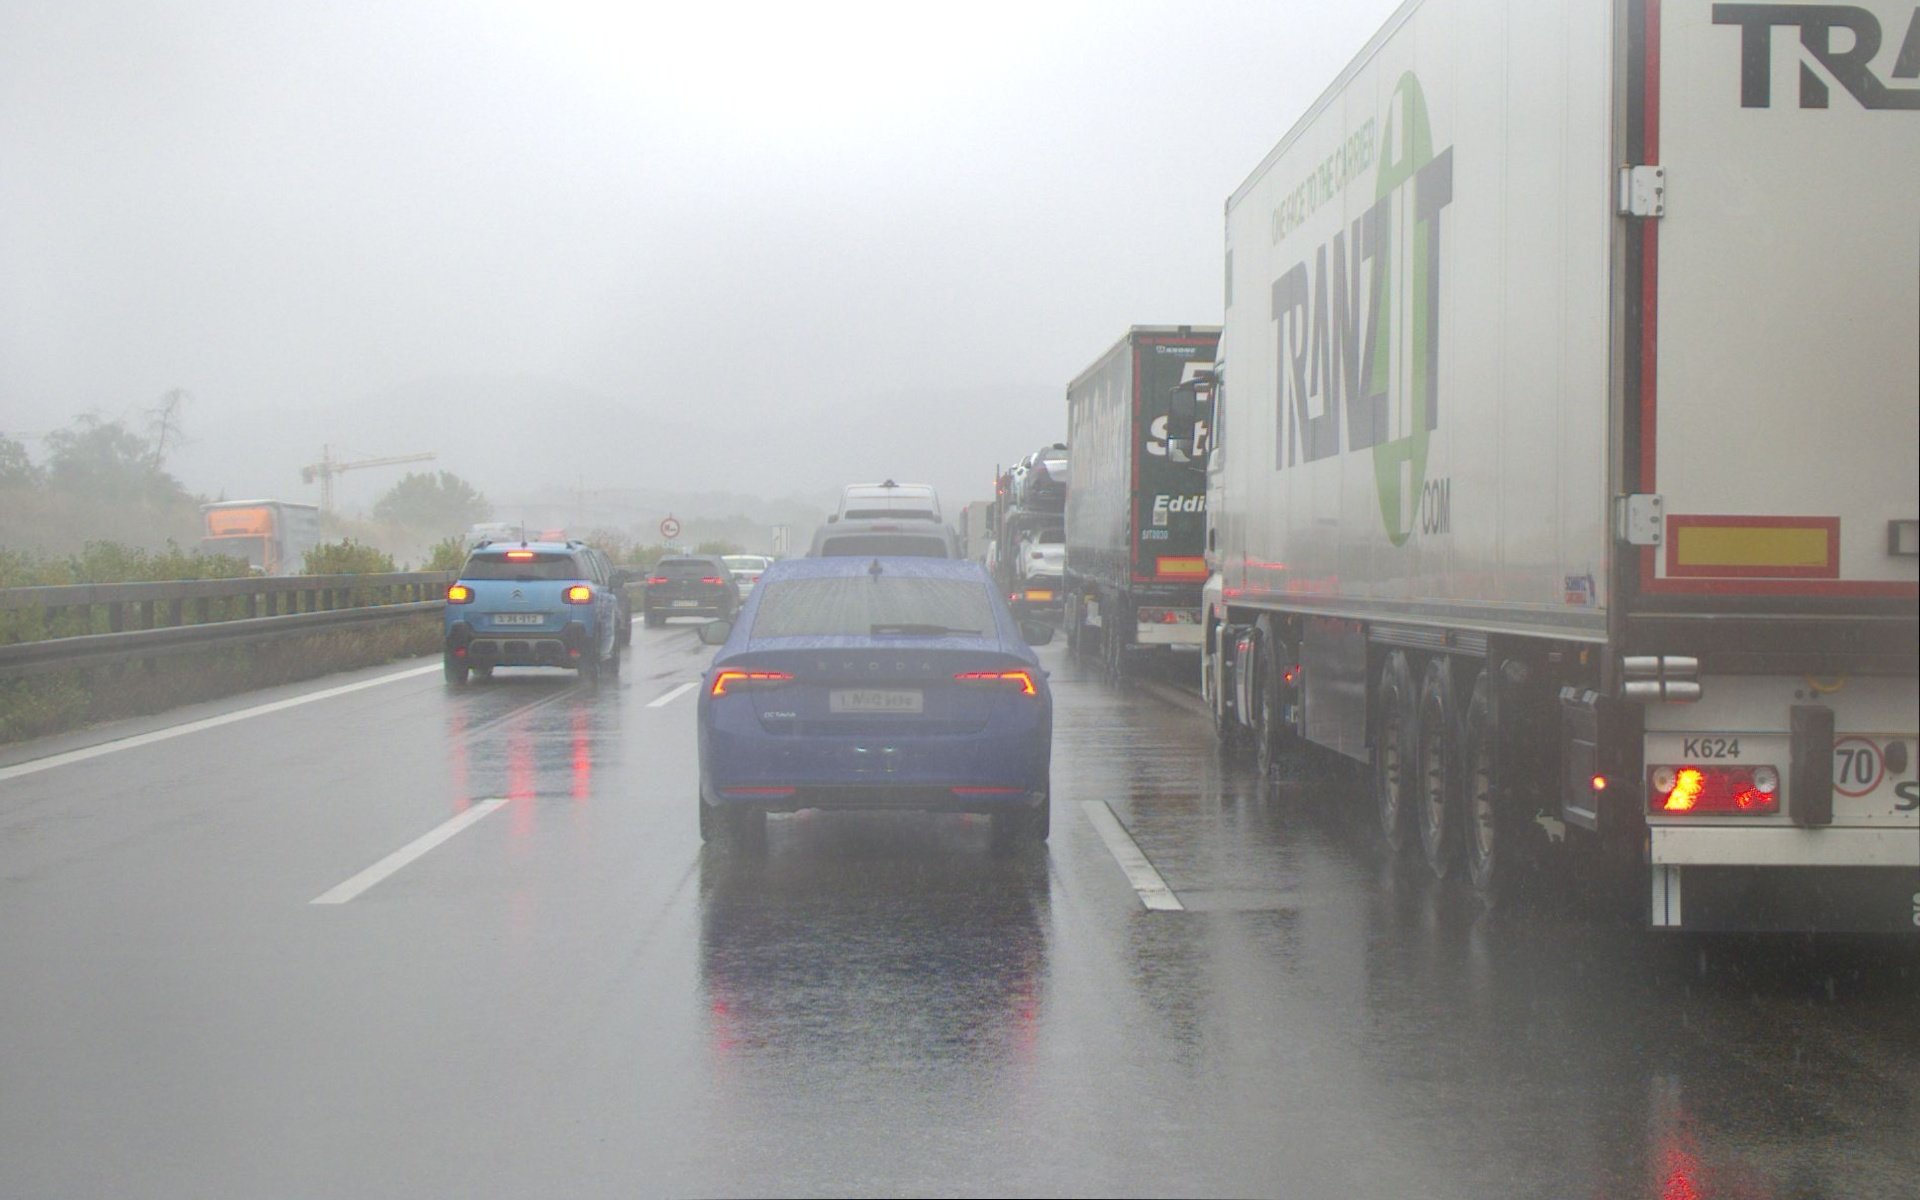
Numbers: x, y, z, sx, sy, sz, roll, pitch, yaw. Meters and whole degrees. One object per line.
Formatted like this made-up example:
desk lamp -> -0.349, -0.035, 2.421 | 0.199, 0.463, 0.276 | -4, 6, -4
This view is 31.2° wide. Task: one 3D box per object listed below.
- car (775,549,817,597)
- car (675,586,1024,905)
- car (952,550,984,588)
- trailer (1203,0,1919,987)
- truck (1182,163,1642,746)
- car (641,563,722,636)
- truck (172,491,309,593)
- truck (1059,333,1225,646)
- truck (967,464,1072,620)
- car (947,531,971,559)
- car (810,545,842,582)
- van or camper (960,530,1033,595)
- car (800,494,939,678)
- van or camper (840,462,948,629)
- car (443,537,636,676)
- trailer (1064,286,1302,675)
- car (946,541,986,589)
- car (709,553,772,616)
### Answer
car -> -6.172, -1.035, 129.828 | 1.448, 1.777, 3.409 | 0, 1, -1
car -> -0.518, 0.676, 18.105 | 1.635, 1.440, 4.000 | 0, 1, 0
car -> 0.334, -1.286, 142.135 | 1.248, 1.507, 3.108 | -1, 2, -1
trailer -> 3.220, -0.937, 18.204 | 2.630, 3.999, 14.630 | 0, 1, -1
truck -> 3.116, -1.003, 24.925 | 2.630, 3.814, 4.791 | 0, 1, -1
car -> -5.679, -0.025, 70.427 | 1.439, 1.415, 3.322 | 0, 1, -1
truck -> -23.868, -1.980, 114.518 | 2.925, 3.270, 9.257 | 0, 2, -2
truck -> 2.489, -1.519, 47.961 | 2.047, 4.178, 4.000 | 0, 1, -1
truck -> 1.314, -1.378, 79.214 | 1.993, 3.410, 8.033 | 0, 2, -2
car -> -0.067, -3.523, 222.187 | 1.448, 1.777, 3.409 | 0, 1, -1
car -> -6.501, -1.785, 166.452 | 1.448, 1.777, 3.409 | 0, 1, -1
van or camper -> 0.919, -0.988, 89.022 | 1.771, 1.619, 4.484 | 0, 2, -1
car -> -0.896, -0.176, 34.752 | 1.336, 1.773, 3.322 | 0, 1, -1
van or camper -> -1.142, -0.965, 60.050 | 1.797, 2.797, 4.768 | 0, 1, -1
car -> -4.783, 0.031, 39.561 | 1.721, 1.518, 4.000 | 0, 1, 0
trailer -> 2.559, -1.410, 42.580 | 2.047, 4.162, 11.449 | 0, 1, -1
car -> 0.225, -1.341, 130.709 | 1.448, 1.777, 3.409 | 0, 1, -1
car -> -5.552, -0.402, 87.118 | 1.439, 1.528, 3.322 | 0, 1, -1
